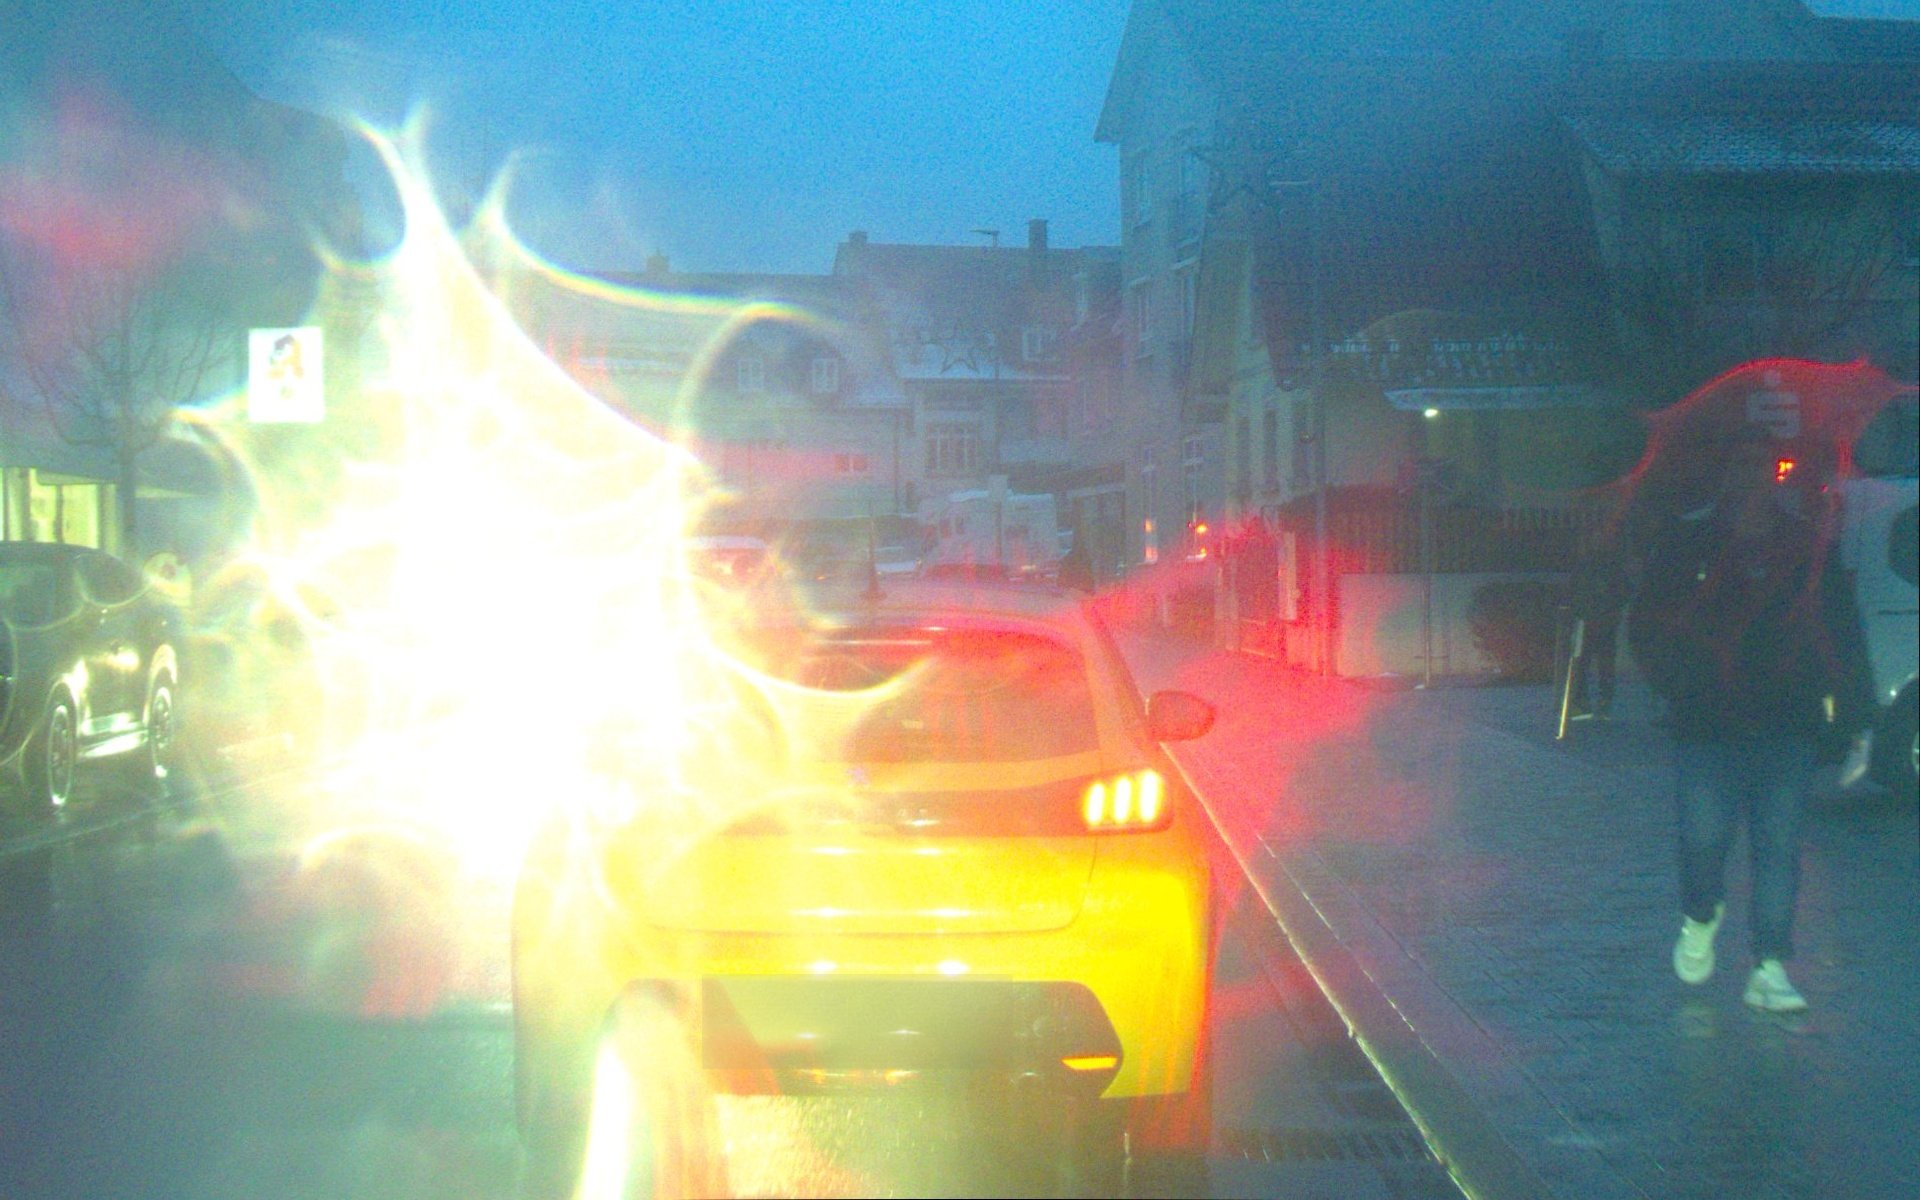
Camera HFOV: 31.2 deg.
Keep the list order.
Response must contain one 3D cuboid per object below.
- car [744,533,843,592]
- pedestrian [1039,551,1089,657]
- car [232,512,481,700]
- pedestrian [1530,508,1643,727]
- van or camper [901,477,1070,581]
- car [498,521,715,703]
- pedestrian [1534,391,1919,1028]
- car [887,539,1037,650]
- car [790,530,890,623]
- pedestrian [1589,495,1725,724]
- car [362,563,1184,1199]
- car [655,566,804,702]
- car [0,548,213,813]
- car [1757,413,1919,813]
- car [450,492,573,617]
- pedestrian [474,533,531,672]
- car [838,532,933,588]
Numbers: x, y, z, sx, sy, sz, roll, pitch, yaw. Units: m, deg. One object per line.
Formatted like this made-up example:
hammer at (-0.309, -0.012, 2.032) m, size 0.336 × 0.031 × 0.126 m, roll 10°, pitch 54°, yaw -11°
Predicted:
car at (-5.208, -1.182, 107.008) m, size 1.993 × 1.759 × 4.352 m, roll -2°, pitch 2°, yaw -17°
pedestrian at (1.719, 0.053, 57.067) m, size 0.745 × 1.723 × 0.873 m, roll 0°, pitch 2°, yaw -4°
car at (-6.109, 0.008, 35.337) m, size 2.085 × 1.786 × 5.025 m, roll 0°, pitch 1°, yaw -5°
pedestrian at (4.982, 0.129, 27.370) m, size 0.843 × 1.699 × 0.838 m, roll 1°, pitch 1°, yaw 10°
van or camper at (0.742, -2.201, 108.190) m, size 2.650 × 3.037 × 6.736 m, roll -4°, pitch 2°, yaw -23°
car at (-3.744, 0.067, 37.140) m, size 1.993 × 1.700 × 4.968 m, roll 2°, pitch 2°, yaw -3°
pedestrian at (2.428, 0.321, 10.835) m, size 0.966 × 1.883 × 1.006 m, roll -2°, pitch 1°, yaw -3°
car at (-0.019, -0.097, 52.025) m, size 1.993 × 1.583 × 4.001 m, roll 1°, pitch 1°, yaw -4°
car at (-2.551, -0.496, 72.118) m, size 1.993 × 1.851 × 4.001 m, roll 1°, pitch 0°, yaw -3°
pedestrian at (5.336, 0.069, 26.361) m, size 0.703 × 1.699 × 0.915 m, roll -2°, pitch 0°, yaw -8°
car at (-0.494, 0.676, 9.686) m, size 1.814 × 1.528 × 4.000 m, roll 1°, pitch 1°, yaw -2°
car at (-3.234, 0.433, 48.218) m, size 1.951 × 1.541 × 4.417 m, roll -2°, pitch 4°, yaw -4°
car at (-6.327, 0.438, 22.153) m, size 1.993 × 1.517 × 4.978 m, roll 0°, pitch 1°, yaw -1°
car at (6.503, -0.009, 18.467) m, size 4.092 × 2.042 × 1.999 m, roll -2°, pitch 1°, yaw 8°
car at (-9.743, -0.946, 74.569) m, size 2.485 × 2.551 × 6.763 m, roll 1°, pitch 0°, yaw -8°
pedestrian at (-5.240, 0.024, 39.407) m, size 0.574 × 1.580 × 0.530 m, roll 0°, pitch 2°, yaw 0°
car at (-2.353, -1.224, 107.395) m, size 1.993 × 1.605 × 4.175 m, roll -2°, pitch 0°, yaw -15°
